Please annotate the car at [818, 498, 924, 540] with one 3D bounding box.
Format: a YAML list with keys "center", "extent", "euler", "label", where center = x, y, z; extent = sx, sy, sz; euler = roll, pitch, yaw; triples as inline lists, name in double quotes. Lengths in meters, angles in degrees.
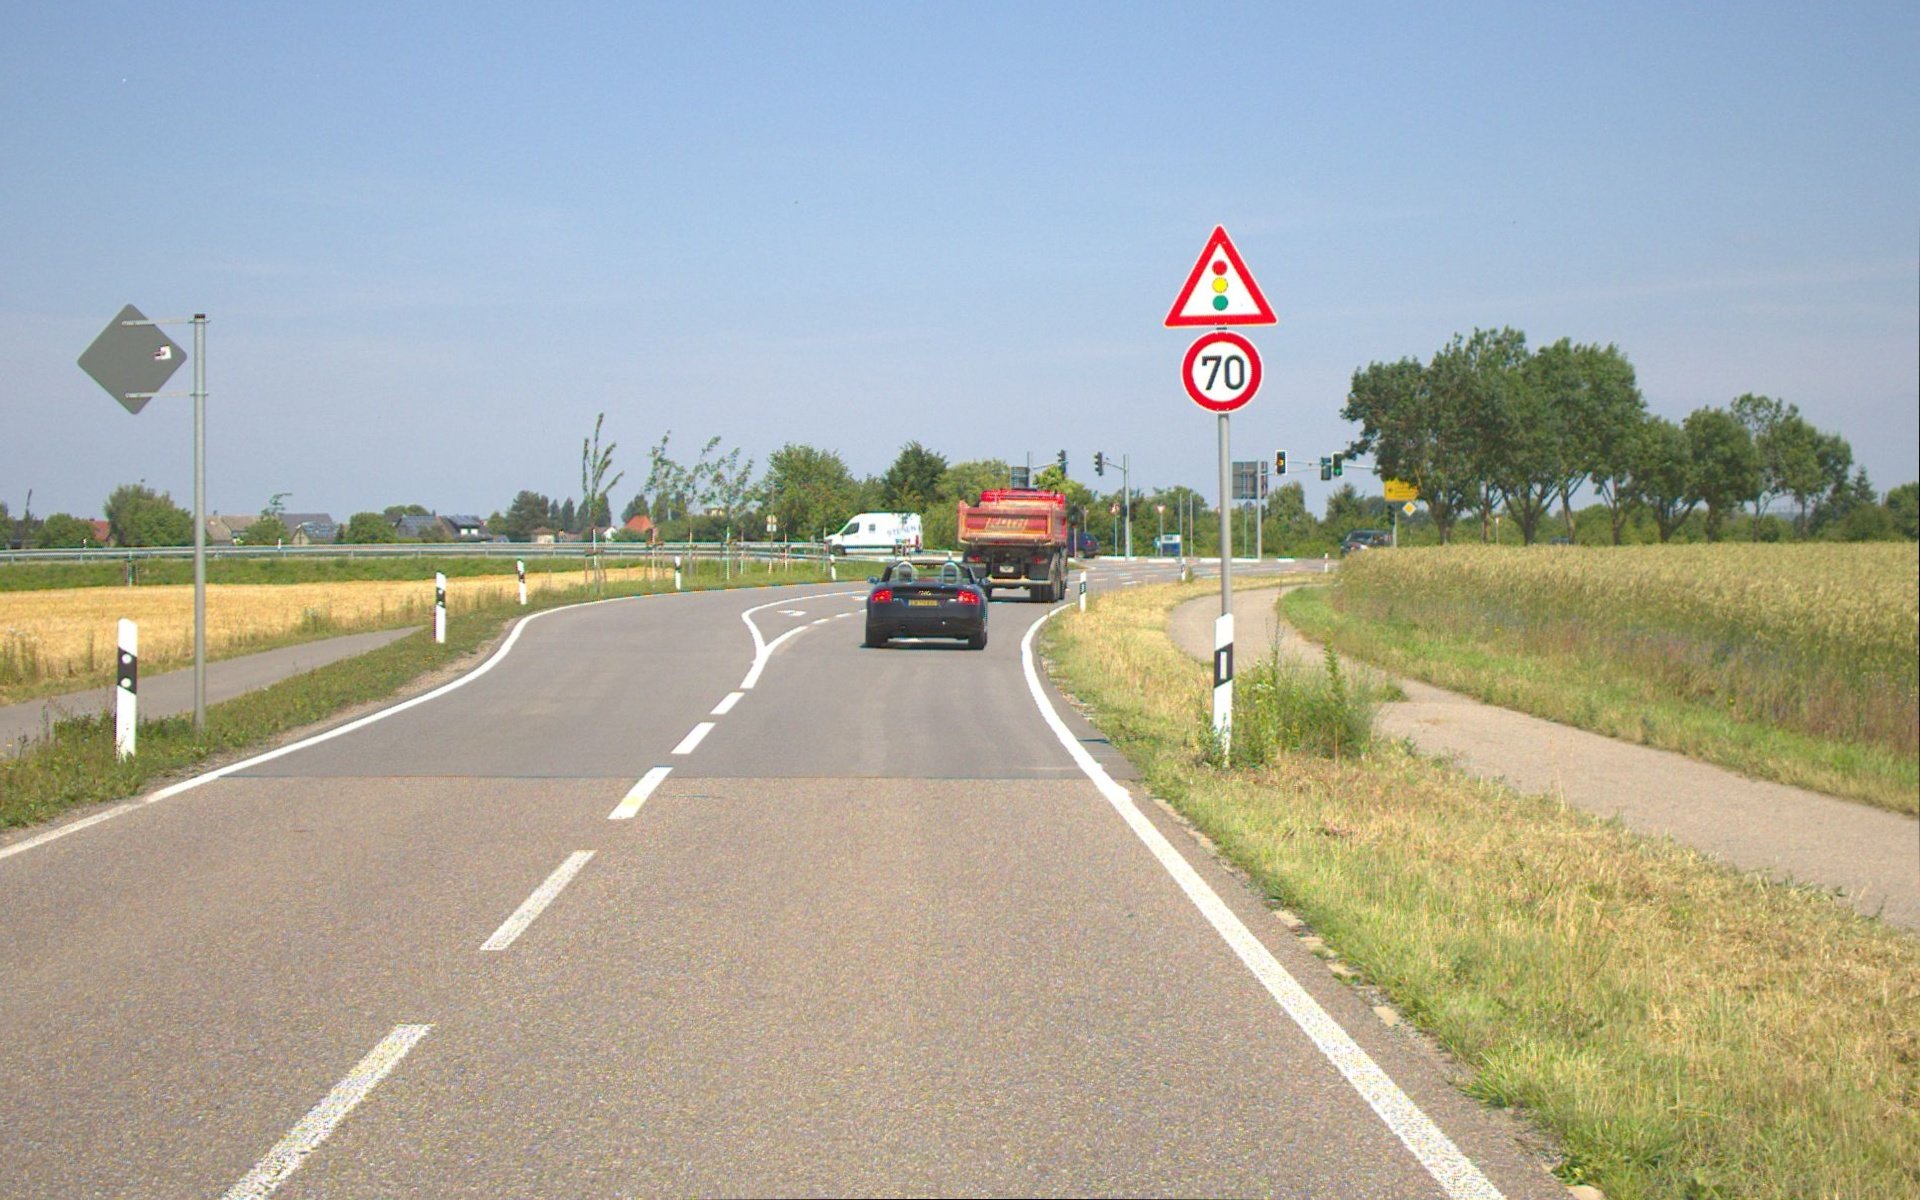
- center: [-5.296, -4.815, 204.431]
  extent: [5.921, 2.413, 2.246]
  euler: [1, 1, 14]
  label: "car"

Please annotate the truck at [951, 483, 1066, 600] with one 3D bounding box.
- center: [1.389, -1.555, 94.045]
  extent: [2.714, 3.042, 8.163]
  euler: [1, 0, 4]
  label: "truck"

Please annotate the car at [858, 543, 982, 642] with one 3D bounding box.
- center: [-0.611, -0.113, 51.044]
  extent: [1.747, 1.371, 3.679]
  euler: [2, 0, -1]
  label: "car"
